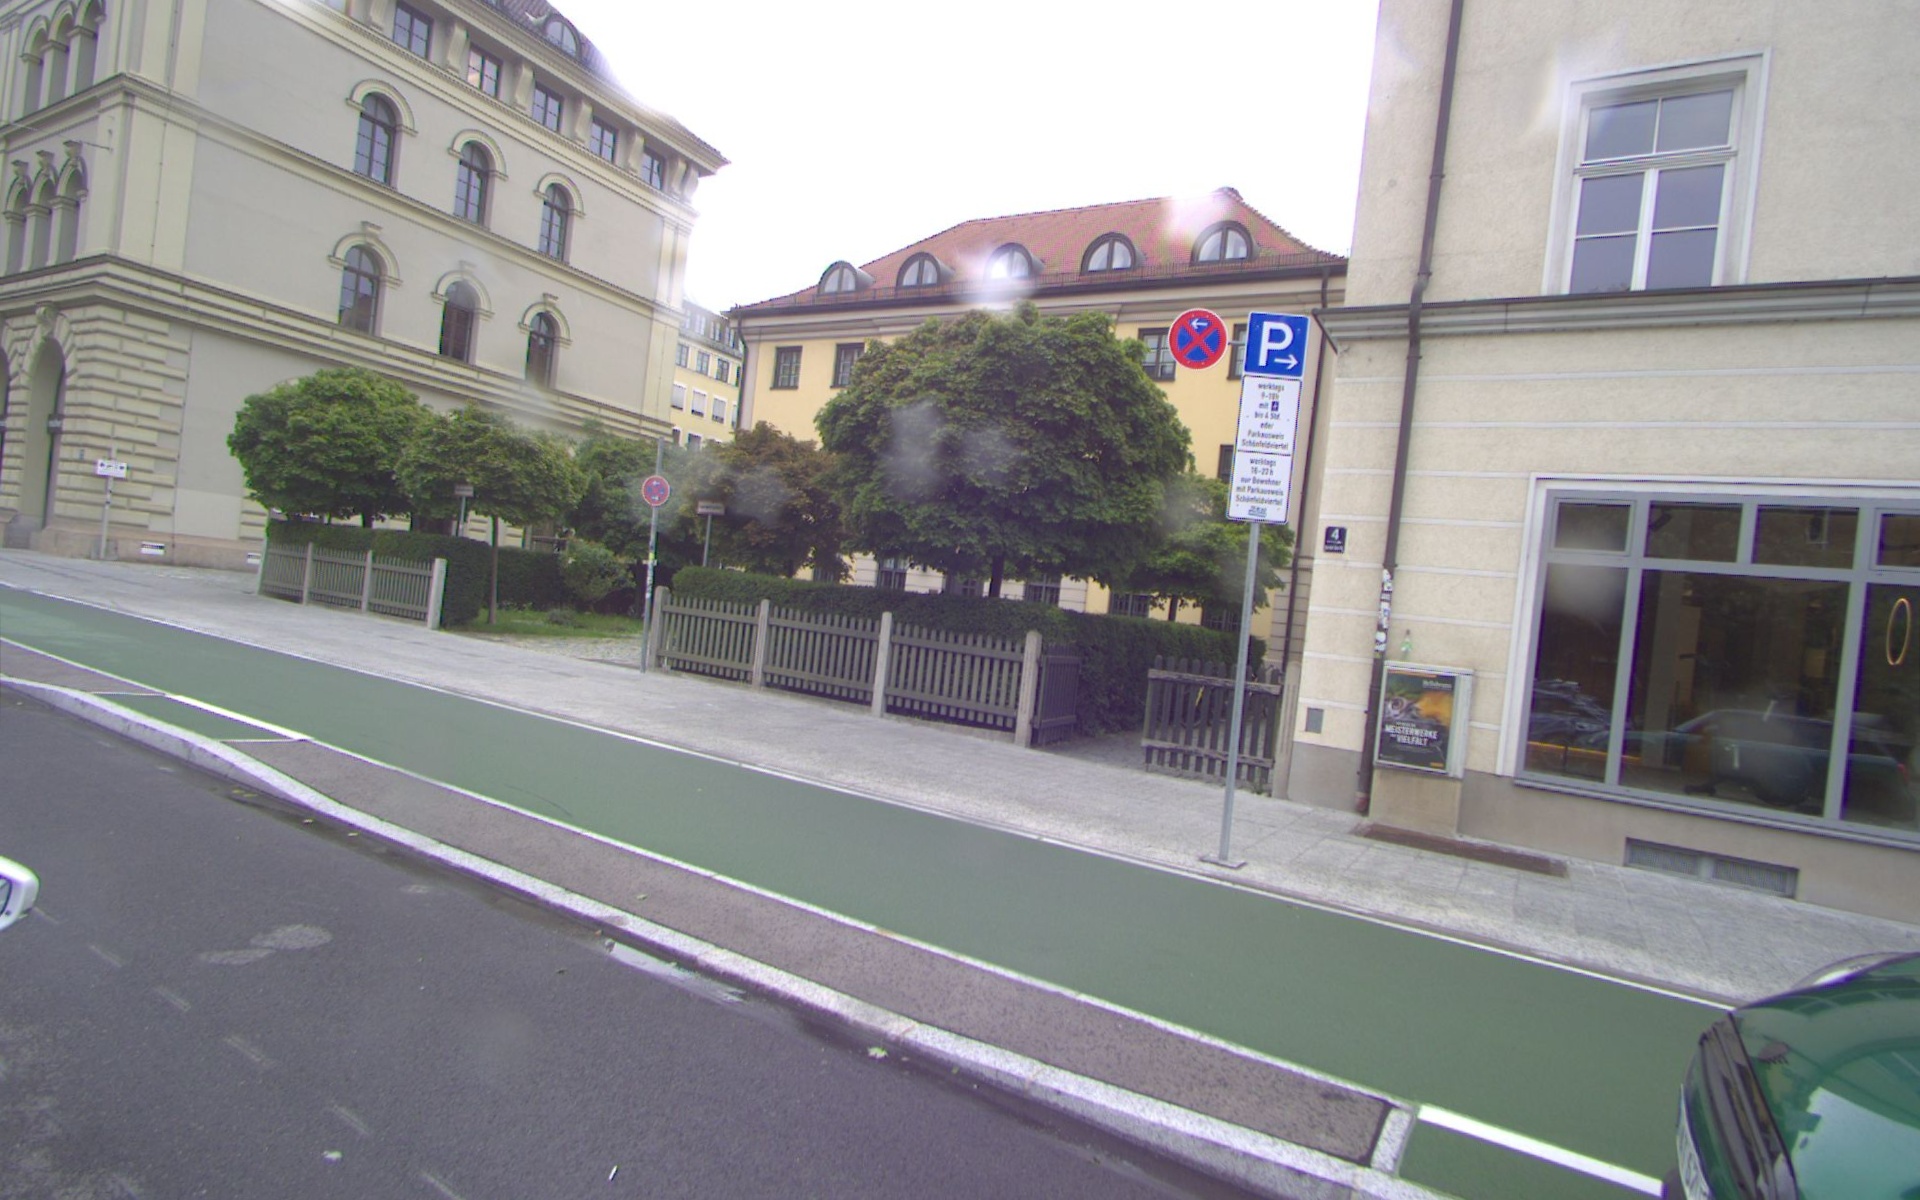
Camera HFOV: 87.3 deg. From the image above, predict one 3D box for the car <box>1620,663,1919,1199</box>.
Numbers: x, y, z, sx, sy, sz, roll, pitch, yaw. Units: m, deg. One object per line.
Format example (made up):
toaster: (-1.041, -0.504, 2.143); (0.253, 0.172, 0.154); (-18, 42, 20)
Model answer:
car: (3.119, 1.119, 1.163); (3.767, 1.538, 1.678); (7, -1, 33)

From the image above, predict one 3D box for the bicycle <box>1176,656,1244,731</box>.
bicycle: (4.180, 1.541, 16.734); (0.512, 1.130, 1.830); (7, -1, 30)

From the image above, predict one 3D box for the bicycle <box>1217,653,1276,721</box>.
bicycle: (5.314, 1.599, 18.571); (0.512, 1.124, 1.830); (7, -1, 30)

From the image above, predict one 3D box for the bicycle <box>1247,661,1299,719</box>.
bicycle: (6.303, 1.801, 20.208); (0.512, 1.048, 1.830); (7, -1, 30)
